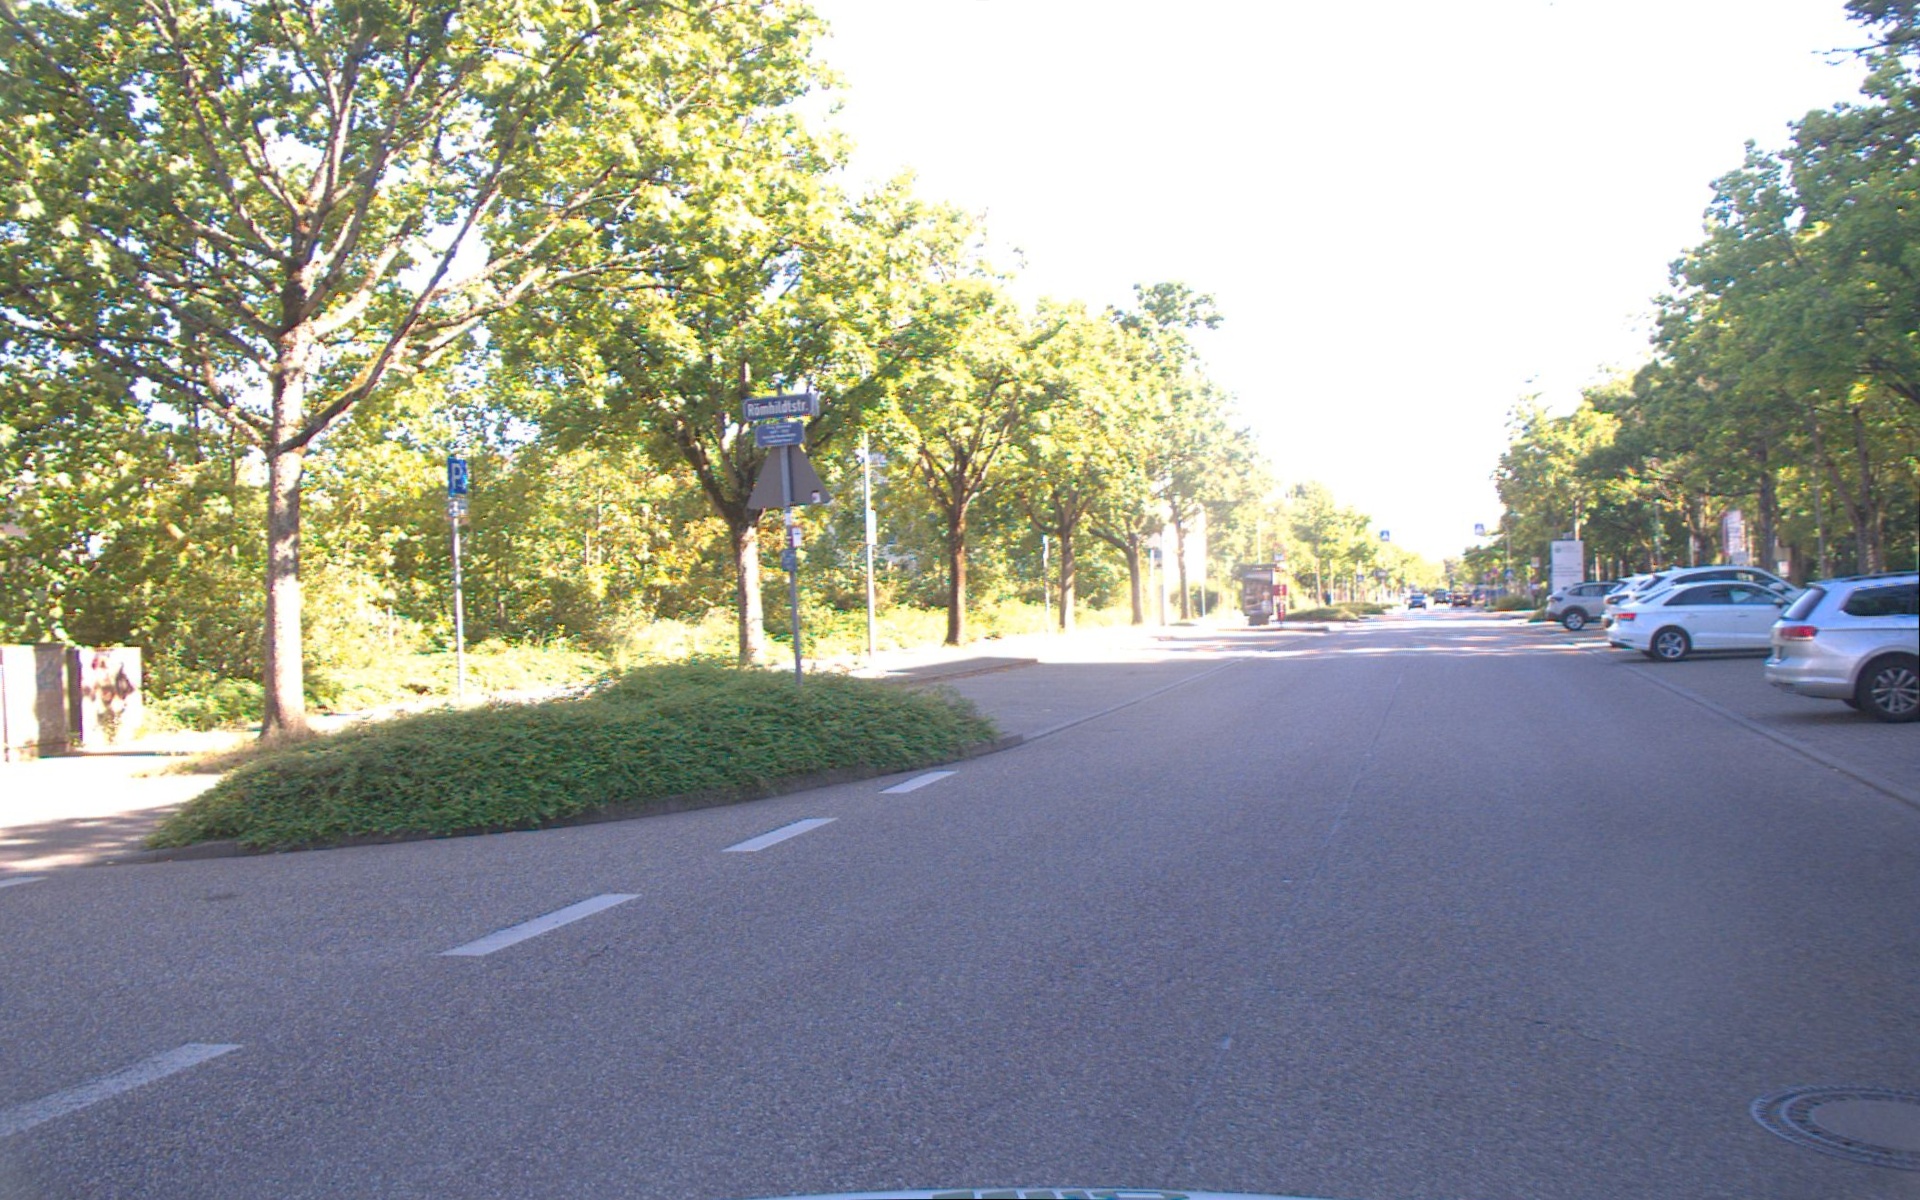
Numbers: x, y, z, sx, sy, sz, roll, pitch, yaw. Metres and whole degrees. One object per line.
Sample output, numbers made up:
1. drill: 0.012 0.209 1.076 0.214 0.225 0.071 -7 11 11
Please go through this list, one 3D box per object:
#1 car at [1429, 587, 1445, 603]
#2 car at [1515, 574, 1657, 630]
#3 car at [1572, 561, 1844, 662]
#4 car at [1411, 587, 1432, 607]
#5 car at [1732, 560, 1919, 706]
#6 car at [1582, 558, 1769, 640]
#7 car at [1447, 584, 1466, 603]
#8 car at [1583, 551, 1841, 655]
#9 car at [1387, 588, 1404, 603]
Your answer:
1. car: 64.715 -0.712 224.475 1.951 2.049 4.003 -1 0 17
2. car: 20.376 0.064 54.006 4.077 1.453 2.001 -5 -1 16
3. car: 13.699 0.210 30.551 4.251 1.515 1.739 -4 -1 15
4. car: 43.253 -0.277 155.066 1.790 1.806 3.742 -1 0 17
5. car: 10.342 0.304 17.030 4.186 1.453 1.828 -1 0 21
6. car: 16.218 -0.018 37.661 3.611 1.549 1.652 -4 0 15
7. car: 56.014 -0.732 186.642 1.951 2.049 4.003 -1 0 17
8. car: 14.892 0.059 33.001 4.341 1.676 1.817 -5 -1 15
9. car: 54.302 -0.617 206.151 1.951 1.833 4.003 -1 0 17
